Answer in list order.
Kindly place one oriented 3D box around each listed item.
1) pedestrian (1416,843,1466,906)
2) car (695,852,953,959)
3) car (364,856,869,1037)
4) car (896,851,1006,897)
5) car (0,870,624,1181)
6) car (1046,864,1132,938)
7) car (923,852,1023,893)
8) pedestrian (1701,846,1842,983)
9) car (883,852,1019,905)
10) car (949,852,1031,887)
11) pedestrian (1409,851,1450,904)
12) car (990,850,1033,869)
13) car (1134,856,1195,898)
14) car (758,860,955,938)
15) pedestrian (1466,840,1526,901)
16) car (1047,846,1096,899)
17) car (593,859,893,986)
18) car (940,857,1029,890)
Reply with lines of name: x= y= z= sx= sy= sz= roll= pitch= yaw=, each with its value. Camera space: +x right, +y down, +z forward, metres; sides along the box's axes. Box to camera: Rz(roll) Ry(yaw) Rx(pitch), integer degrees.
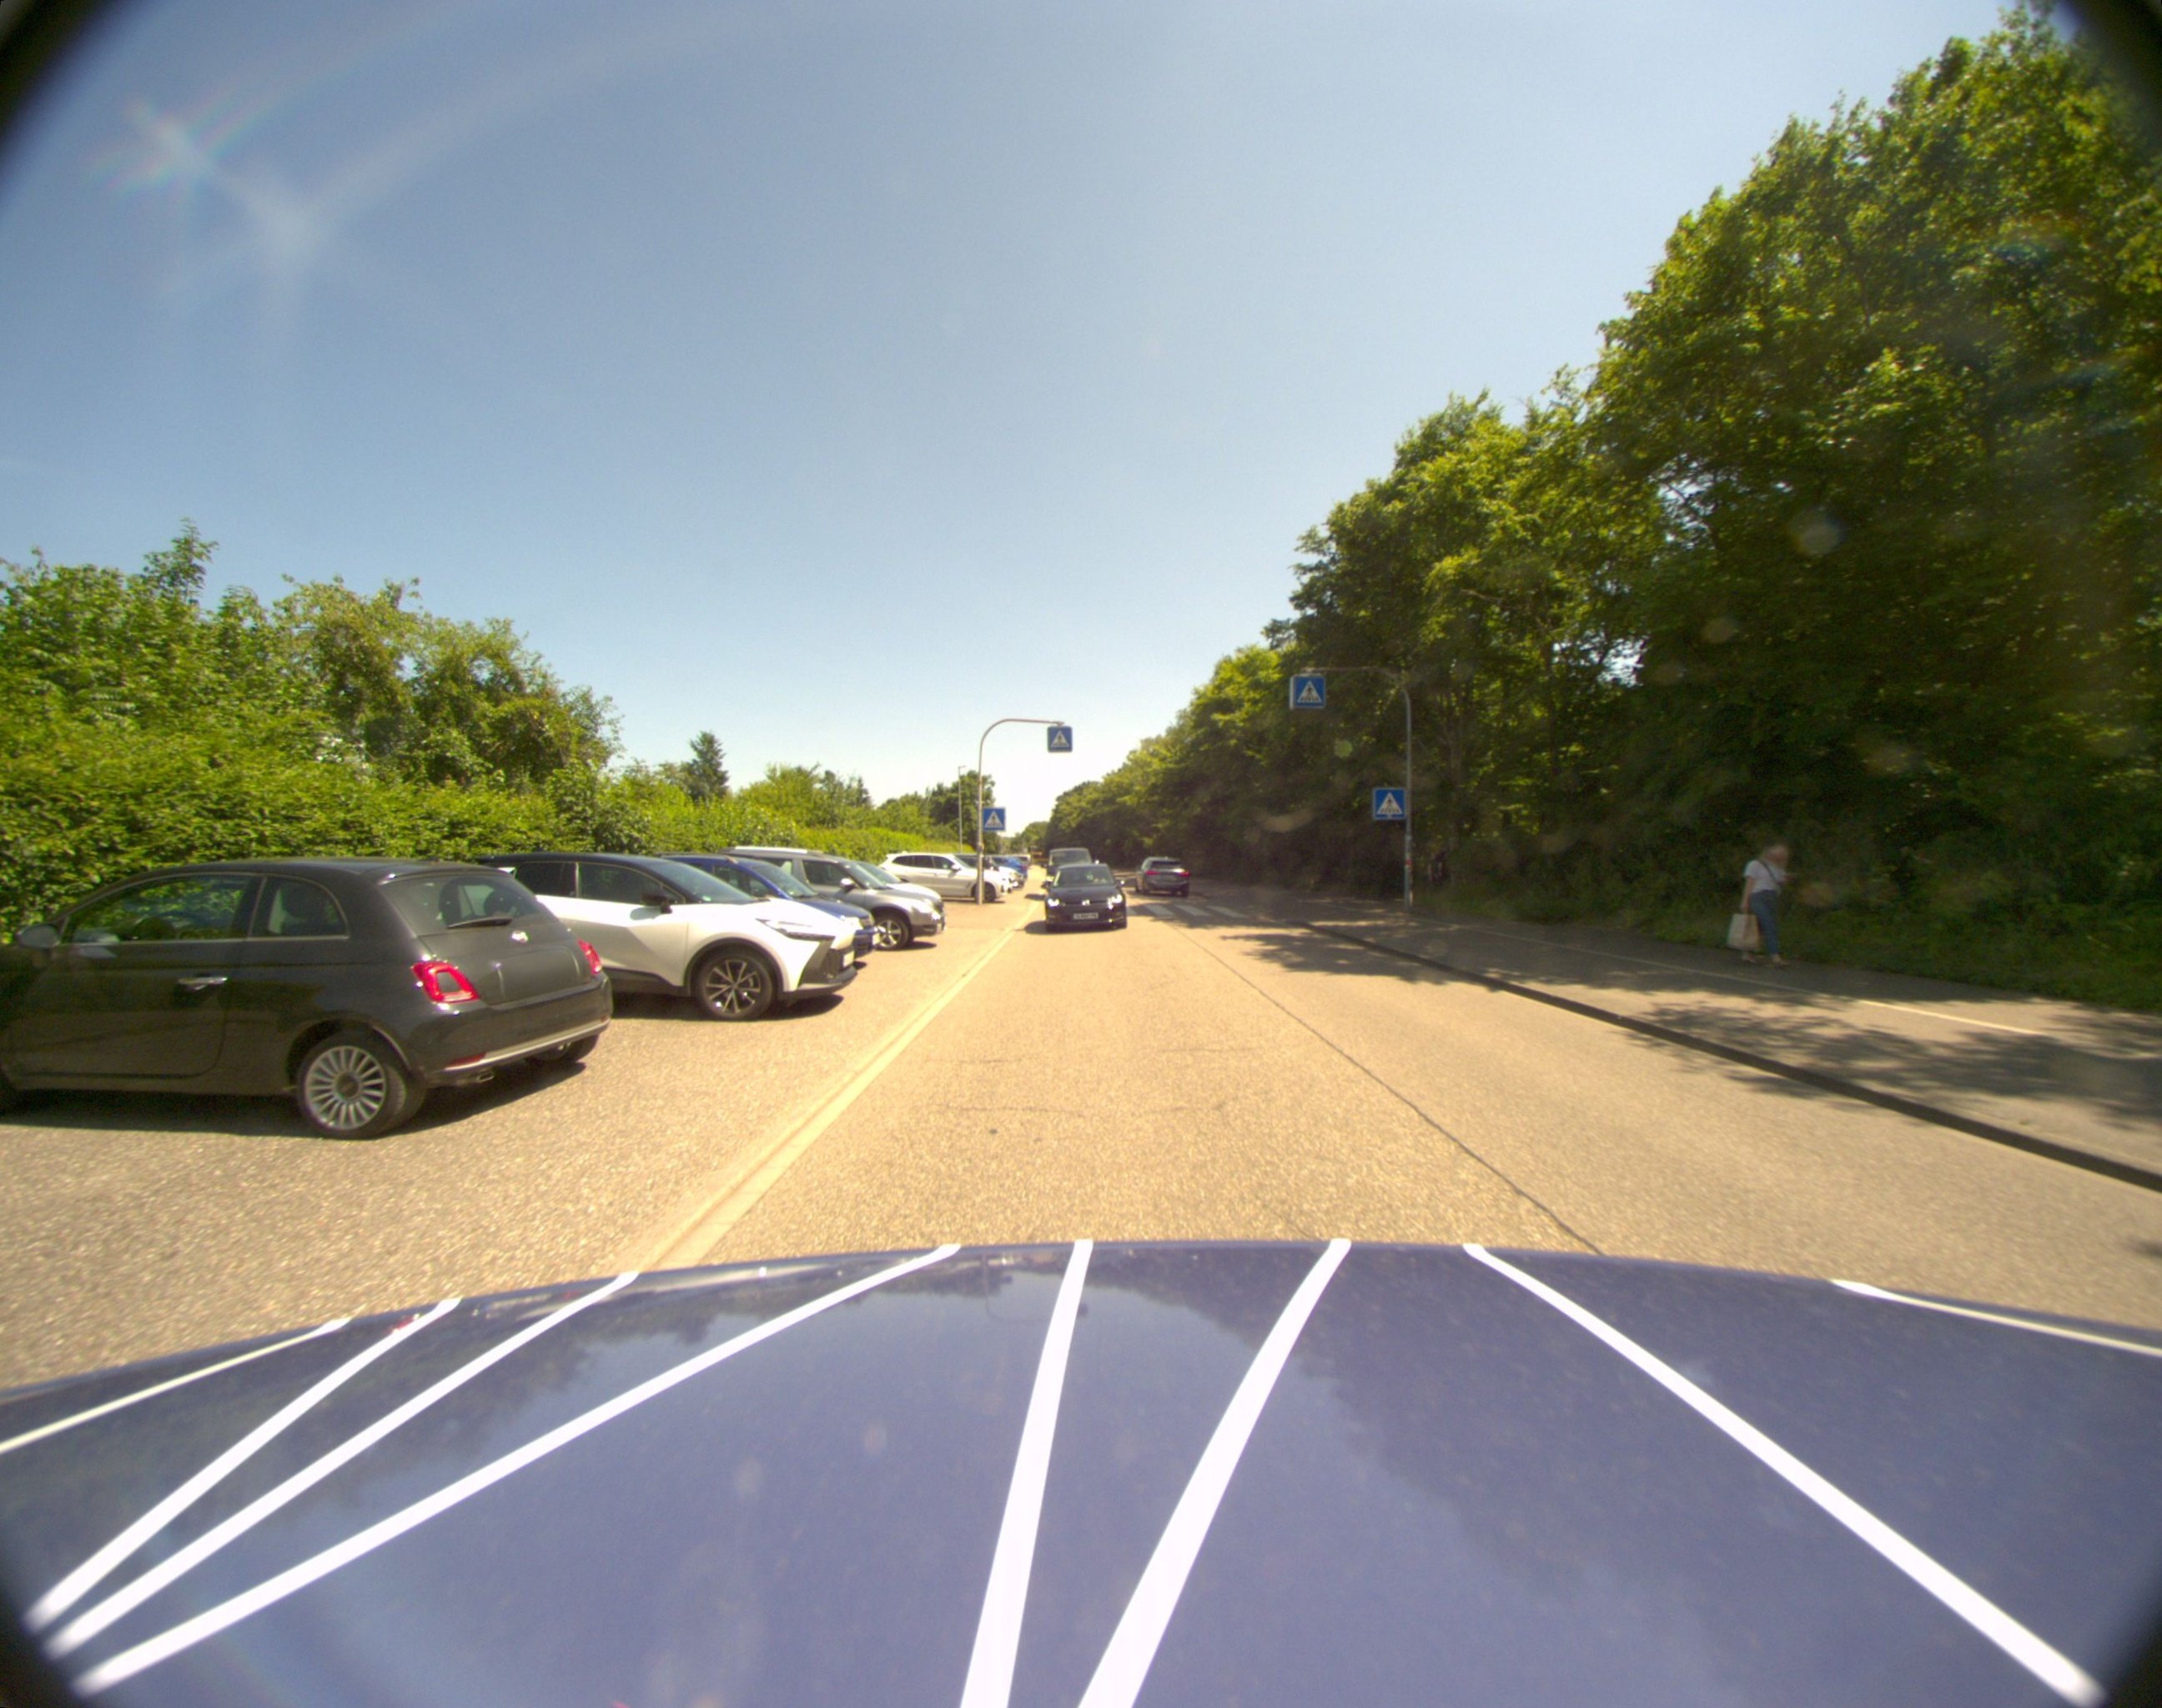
pedestrian: x=10.962 y=0.611 z=23.162 sx=1.086 sy=1.853 sz=0.783 roll=-1 pitch=0 yaw=-8
car: x=-4.383 y=0.870 z=13.458 sx=3.972 sy=1.631 sz=1.663 roll=2 pitch=0 yaw=-4
car: x=-4.411 y=0.866 z=7.829 sx=3.974 sy=1.514 sz=1.863 roll=2 pitch=0 yaw=-6
car: x=-4.967 y=0.758 z=29.466 sx=3.983 sy=1.676 sz=1.766 roll=1 pitch=1 yaw=-1
car: x=-5.017 y=0.889 z=4.730 sx=3.395 sy=1.495 sz=1.588 roll=1 pitch=0 yaw=3
car: x=0.097 y=1.008 z=17.957 sx=1.743 sy=1.396 sz=4.387 roll=-2 pitch=0 yaw=-2
car: x=-4.706 y=0.805 z=33.531 sx=4.171 sy=1.632 sz=1.775 roll=2 pitch=1 yaw=-3
pedestrian: x=8.595 y=0.719 z=9.498 sx=0.934 sy=1.603 sz=0.885 roll=-2 pitch=1 yaw=-1
car: x=-4.517 y=0.833 z=26.813 sx=4.465 sy=1.720 sz=1.850 roll=1 pitch=1 yaw=0
car: x=-4.642 y=0.794 z=39.256 sx=4.036 sy=1.632 sz=1.673 roll=2 pitch=1 yaw=-1
pedestrian: x=10.949 y=0.729 z=23.891 sx=0.896 sy=1.602 sz=0.780 roll=-1 pitch=0 yaw=-8
car: x=-7.441 y=0.562 z=81.818 sx=4.494 sy=1.840 sz=1.694 roll=2 pitch=0 yaw=-5
car: x=3.381 y=0.891 z=31.398 sx=1.896 sy=1.523 sz=4.196 roll=3 pitch=0 yaw=-1
car: x=-4.786 y=0.923 z=16.496 sx=3.697 sy=1.442 sz=1.610 roll=2 pitch=0 yaw=3
pedestrian: x=12.423 y=0.501 z=22.775 sx=1.158 sy=1.740 sz=1.023 roll=-2 pitch=-1 yaw=-4
car: x=-0.434 y=0.680 z=30.401 sx=1.743 sy=1.905 sz=4.387 roll=-2 pitch=0 yaw=-2
car: x=-4.555 y=0.905 z=10.647 sx=3.462 sy=1.518 sz=1.539 roll=2 pitch=0 yaw=-5
car: x=-4.546 y=0.909 z=36.348 sx=4.037 sy=1.401 sz=1.679 roll=2 pitch=1 yaw=-2
